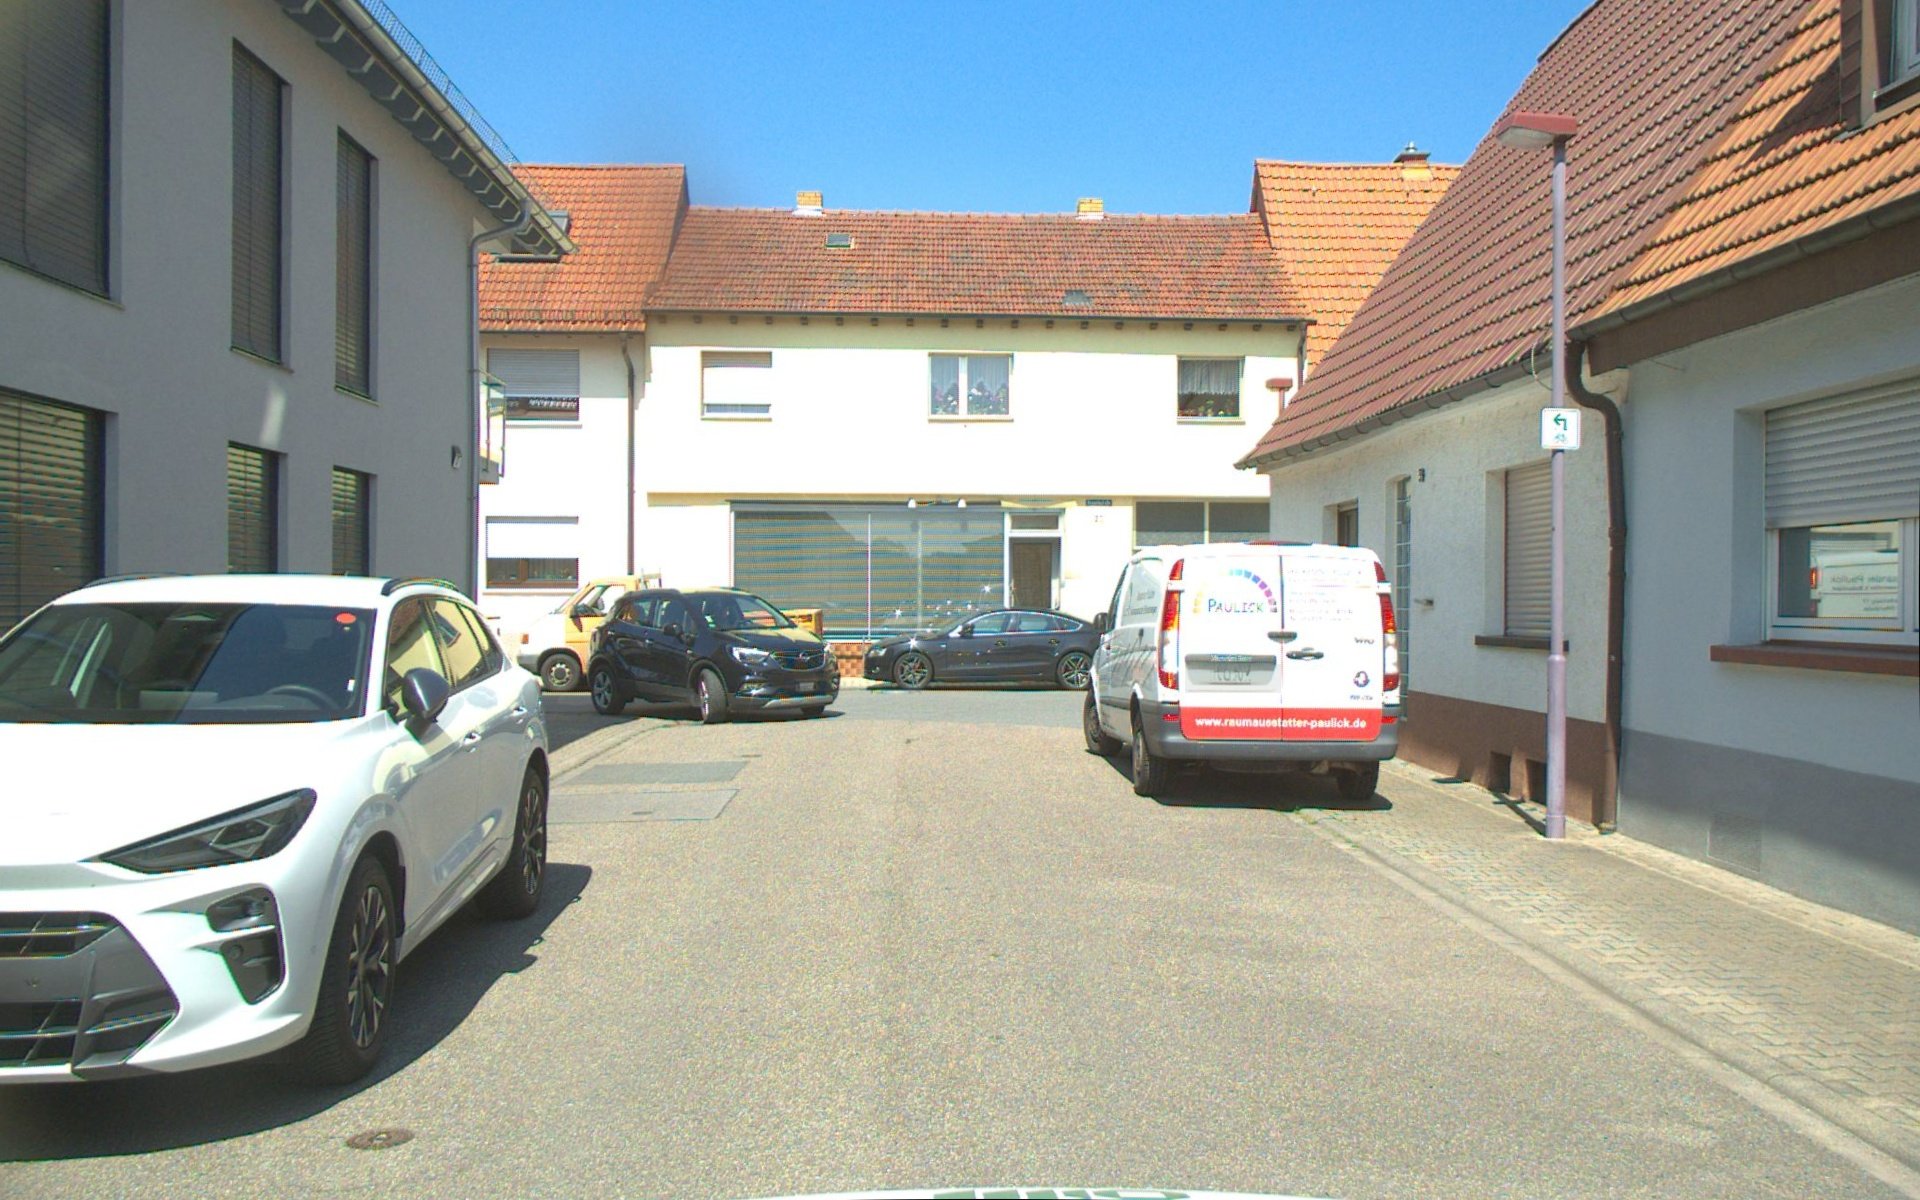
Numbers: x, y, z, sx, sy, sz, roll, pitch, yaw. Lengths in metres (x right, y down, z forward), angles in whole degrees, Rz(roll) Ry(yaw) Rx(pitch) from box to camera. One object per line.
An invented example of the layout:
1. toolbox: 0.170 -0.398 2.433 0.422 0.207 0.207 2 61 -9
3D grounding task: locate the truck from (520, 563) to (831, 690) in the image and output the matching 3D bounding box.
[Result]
1. truck: -4.764 0.447 28.365 4.961 2.049 2.189 1 -1 -2

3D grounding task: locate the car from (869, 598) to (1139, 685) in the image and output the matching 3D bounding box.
1. car: 0.700 0.746 28.584 4.525 1.419 1.926 1 -3 -4

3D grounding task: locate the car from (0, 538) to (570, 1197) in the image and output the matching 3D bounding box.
1. car: -2.732 0.675 6.295 1.739 1.643 4.345 -1 0 -4

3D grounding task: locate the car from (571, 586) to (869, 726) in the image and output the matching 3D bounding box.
1. car: -3.208 0.660 21.511 1.748 1.610 4.213 -1 1 -43

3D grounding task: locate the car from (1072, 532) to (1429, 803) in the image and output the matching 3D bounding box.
1. car: 2.232 0.481 14.300 1.972 1.871 5.263 1 0 -2
